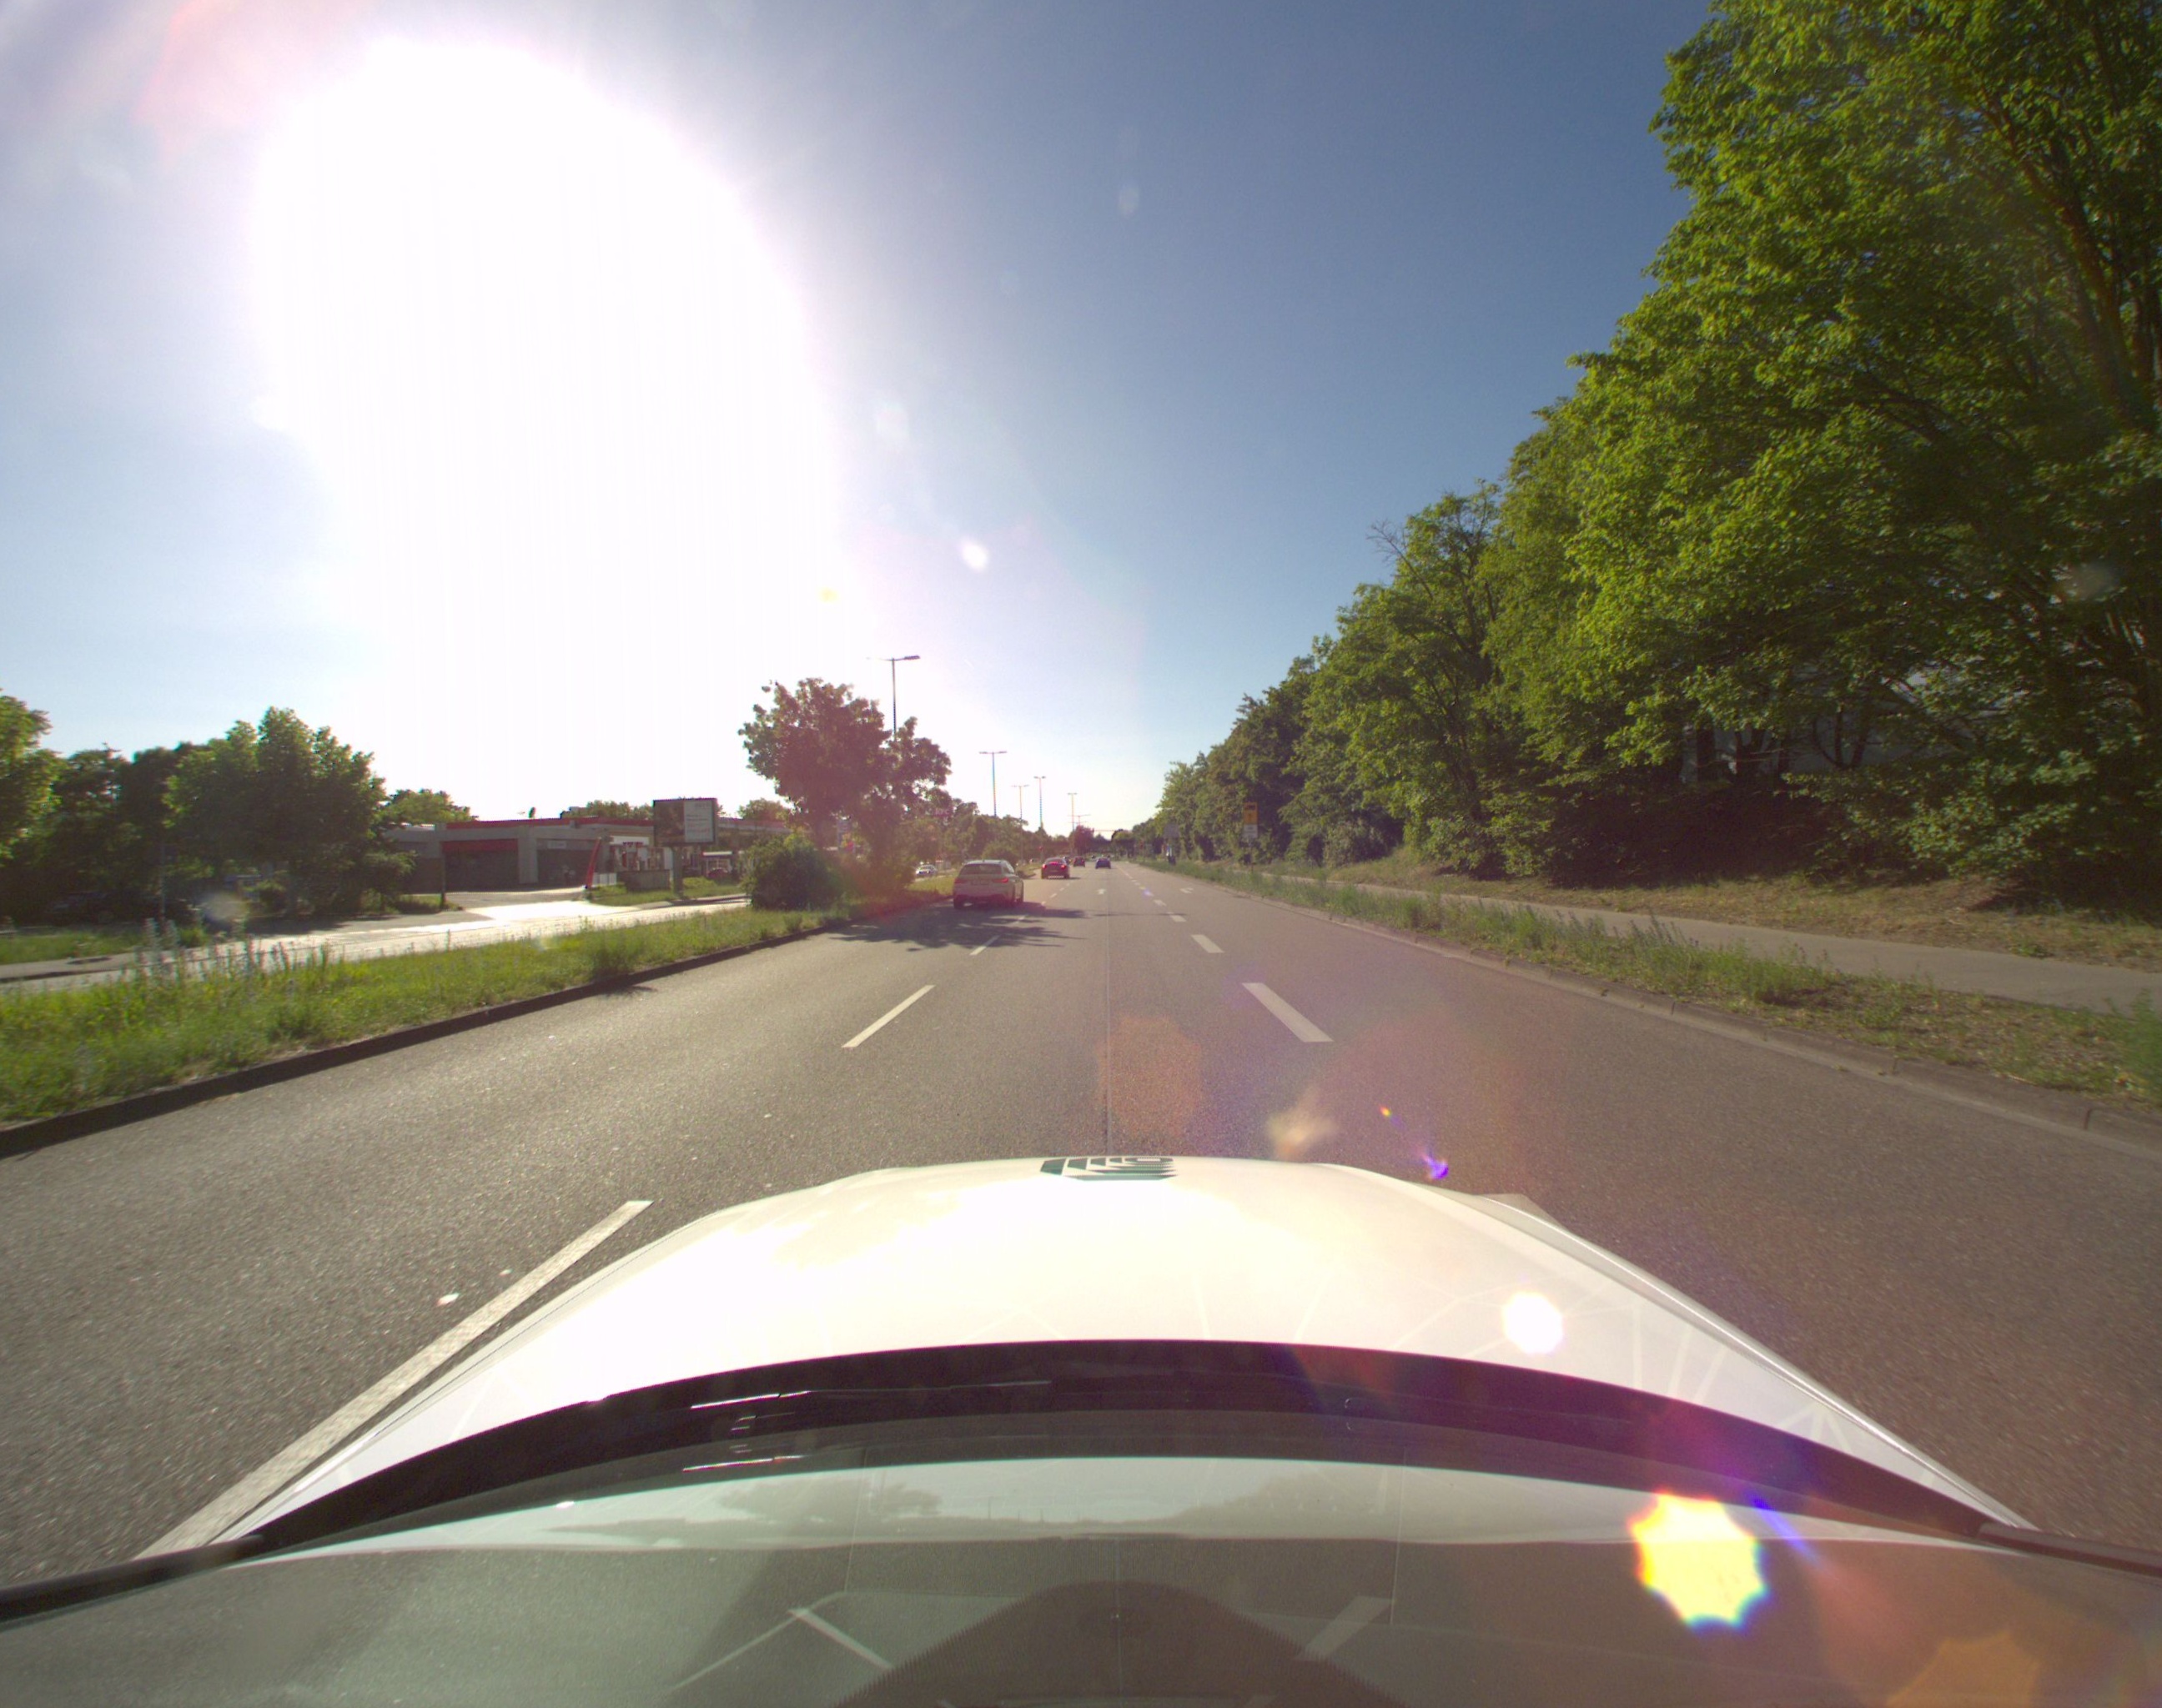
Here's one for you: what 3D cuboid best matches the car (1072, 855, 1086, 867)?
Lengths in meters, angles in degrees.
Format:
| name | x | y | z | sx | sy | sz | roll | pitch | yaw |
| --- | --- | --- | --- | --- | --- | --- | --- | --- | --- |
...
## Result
| name | x | y | z | sx | sy | sz | roll | pitch | yaw |
| --- | --- | --- | --- | --- | --- | --- | --- | --- | --- |
| car | -0.310 | 1.034 | 121.031 | 1.855 | 1.565 | 4.549 | -2 | 0 | 1 |

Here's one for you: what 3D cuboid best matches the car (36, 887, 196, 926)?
| name | x | y | z | sx | sy | sz | roll | pitch | yaw |
| --- | --- | --- | --- | --- | --- | --- | --- | --- | --- |
| car | -39.375 | 2.100 | 33.383 | 1.781 | 1.310 | 3.932 | -2 | 0 | 1 |

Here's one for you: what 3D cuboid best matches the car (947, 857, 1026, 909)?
| name | x | y | z | sx | sy | sz | roll | pitch | yaw |
| --- | --- | --- | --- | --- | --- | --- | --- | --- | --- |
| car | -2.889 | 0.844 | 25.782 | 1.855 | 1.455 | 4.549 | 0 | 0 | 1 |

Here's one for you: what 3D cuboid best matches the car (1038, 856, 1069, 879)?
| name | x | y | z | sx | sy | sz | roll | pitch | yaw |
| --- | --- | --- | --- | --- | --- | --- | --- | --- | --- |
| car | -1.887 | 0.938 | 57.659 | 1.855 | 1.455 | 4.549 | -2 | 0 | 1 |

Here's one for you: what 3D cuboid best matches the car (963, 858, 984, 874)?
| name | x | y | z | sx | sy | sz | roll | pitch | yaw |
| --- | --- | --- | --- | --- | --- | --- | --- | --- | --- |
| car | -13.346 | 1.470 | 101.467 | 1.733 | 1.802 | 4.673 | -5 | 0 | 2 |

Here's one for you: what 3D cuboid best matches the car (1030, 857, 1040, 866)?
| name | x | y | z | sx | sy | sz | roll | pitch | yaw |
| --- | --- | --- | --- | --- | --- | --- | --- | --- | --- |
| car | -8.115 | 1.357 | 143.797 | 1.488 | 1.508 | 3.487 | -2 | 0 | 2 |

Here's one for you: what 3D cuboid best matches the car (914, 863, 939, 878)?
| name | x | y | z | sx | sy | sz | roll | pitch | yaw |
| --- | --- | --- | --- | --- | --- | --- | --- | --- | --- |
| car | -17.218 | 1.865 | 90.866 | 1.733 | 1.455 | 4.210 | -4 | 0 | 2 |

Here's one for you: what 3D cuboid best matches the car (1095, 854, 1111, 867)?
| name | x | y | z | sx | sy | sz | roll | pitch | yaw |
| --- | --- | --- | --- | --- | --- | --- | --- | --- | --- |
| car | 2.754 | 0.824 | 100.670 | 1.855 | 1.499 | 4.338 | -2 | 0 | 1 |

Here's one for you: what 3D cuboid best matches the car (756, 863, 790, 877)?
| name | x | y | z | sx | sy | sz | roll | pitch | yaw |
| --- | --- | --- | --- | --- | --- | --- | --- | --- | --- |
| car | -46.494 | 2.422 | 123.055 | 4.372 | 1.842 | 1.999 | -2 | 0 | -1 |

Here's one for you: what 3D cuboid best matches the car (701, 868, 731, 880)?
| name | x | y | z | sx | sy | sz | roll | pitch | yaw |
| --- | --- | --- | --- | --- | --- | --- | --- | --- | --- |
| car | -49.425 | 2.712 | 110.335 | 1.803 | 1.550 | 4.296 | -2 | 0 | 3 |
